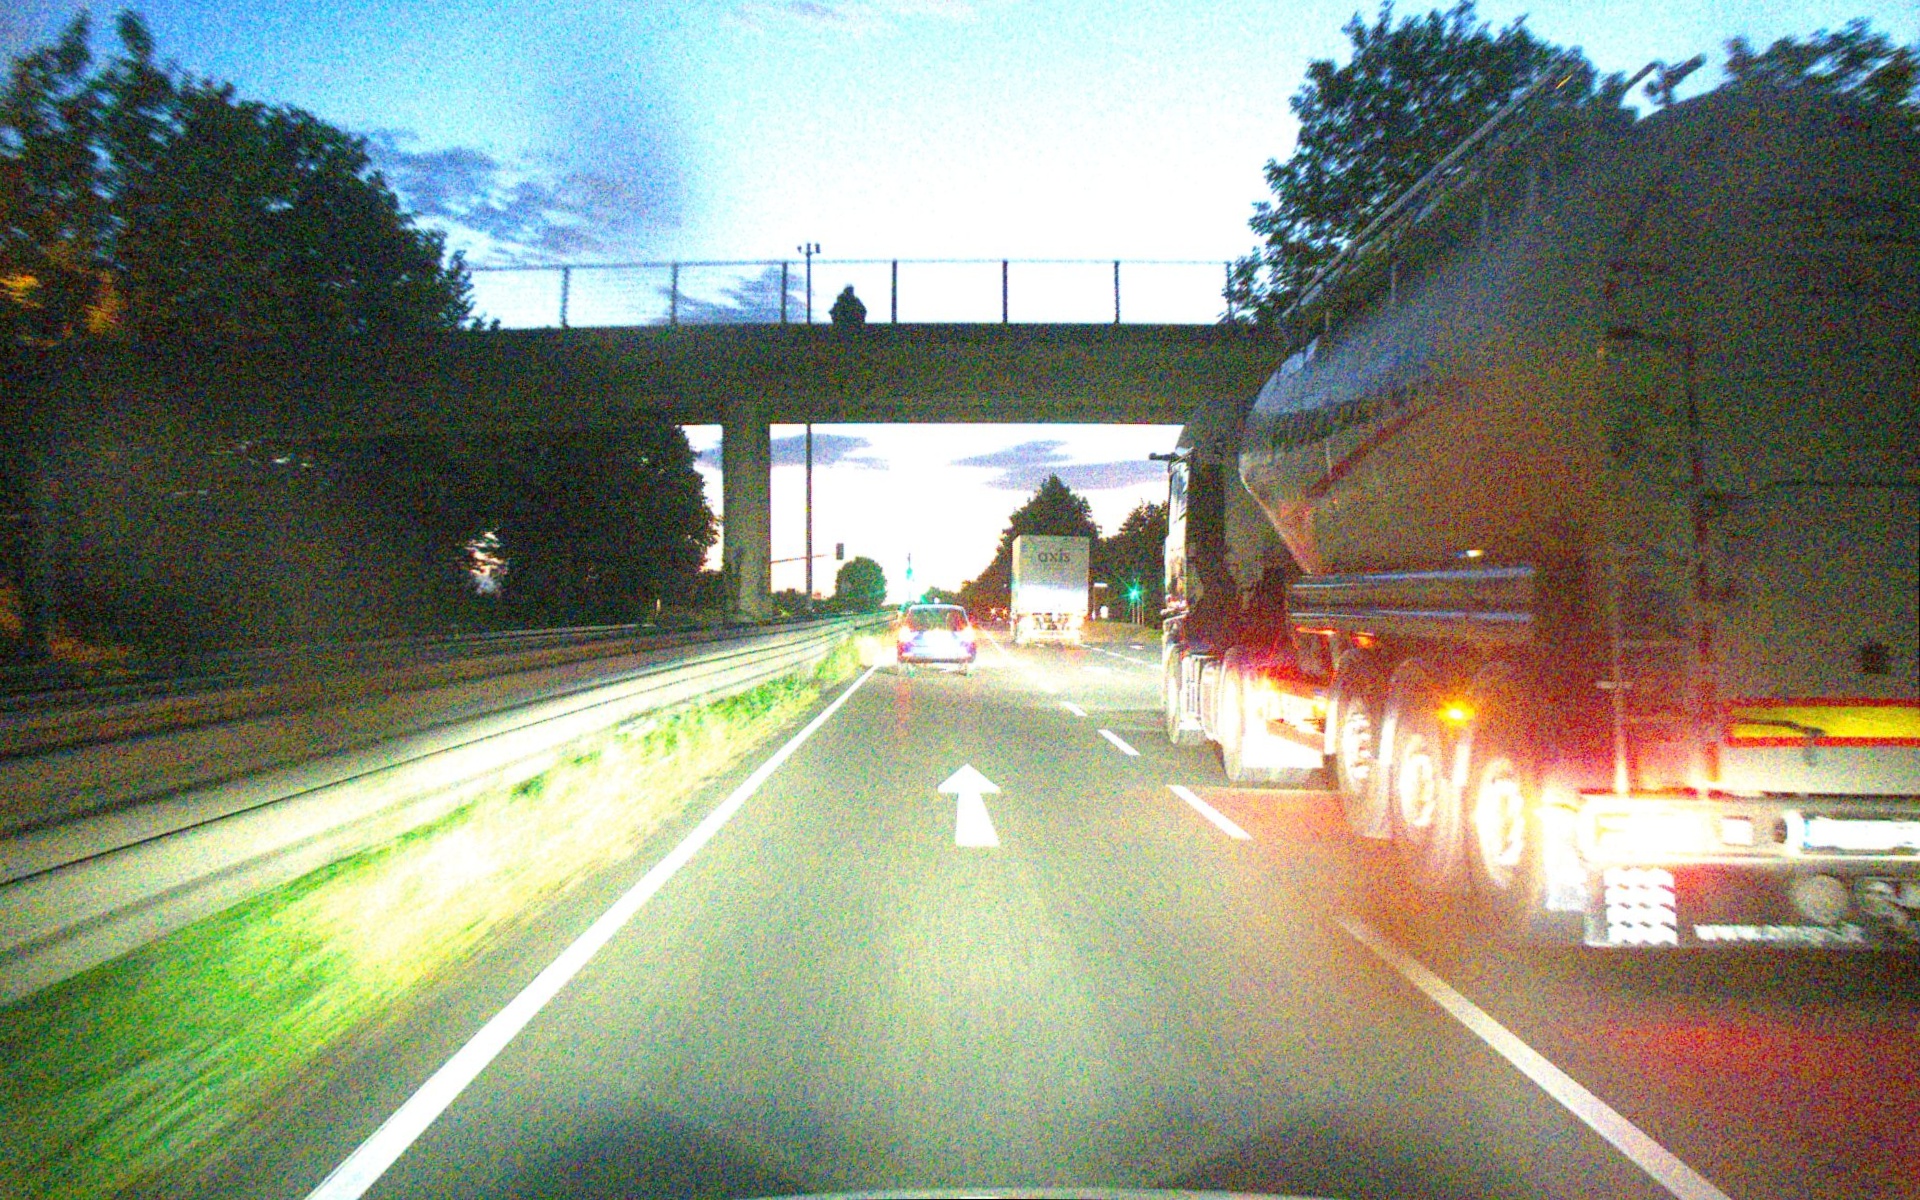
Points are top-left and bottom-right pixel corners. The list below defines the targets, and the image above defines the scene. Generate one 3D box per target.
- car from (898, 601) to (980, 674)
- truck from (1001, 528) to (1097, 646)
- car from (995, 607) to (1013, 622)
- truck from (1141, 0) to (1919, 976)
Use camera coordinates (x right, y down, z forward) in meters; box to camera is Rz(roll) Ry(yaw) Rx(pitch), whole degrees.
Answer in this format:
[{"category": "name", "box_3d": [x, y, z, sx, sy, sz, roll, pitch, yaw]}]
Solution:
[{"category": "car", "box_3d": [-0.459, 0.775, 35.581, 1.661, 1.478, 3.913, 1, 0, -1]}, {"category": "truck", "box_3d": [3.324, -0.436, 65.252, 2.824, 4.178, 12.680, 1, 0, -1]}, {"category": "car", "box_3d": [4.408, 1.474, 167.349, 1.661, 1.478, 3.913, 1, 0, -1]}, {"category": "truck", "box_3d": [3.602, -0.561, 13.142, 2.633, 4.178, 13.137, 1, 0, -1]}]
